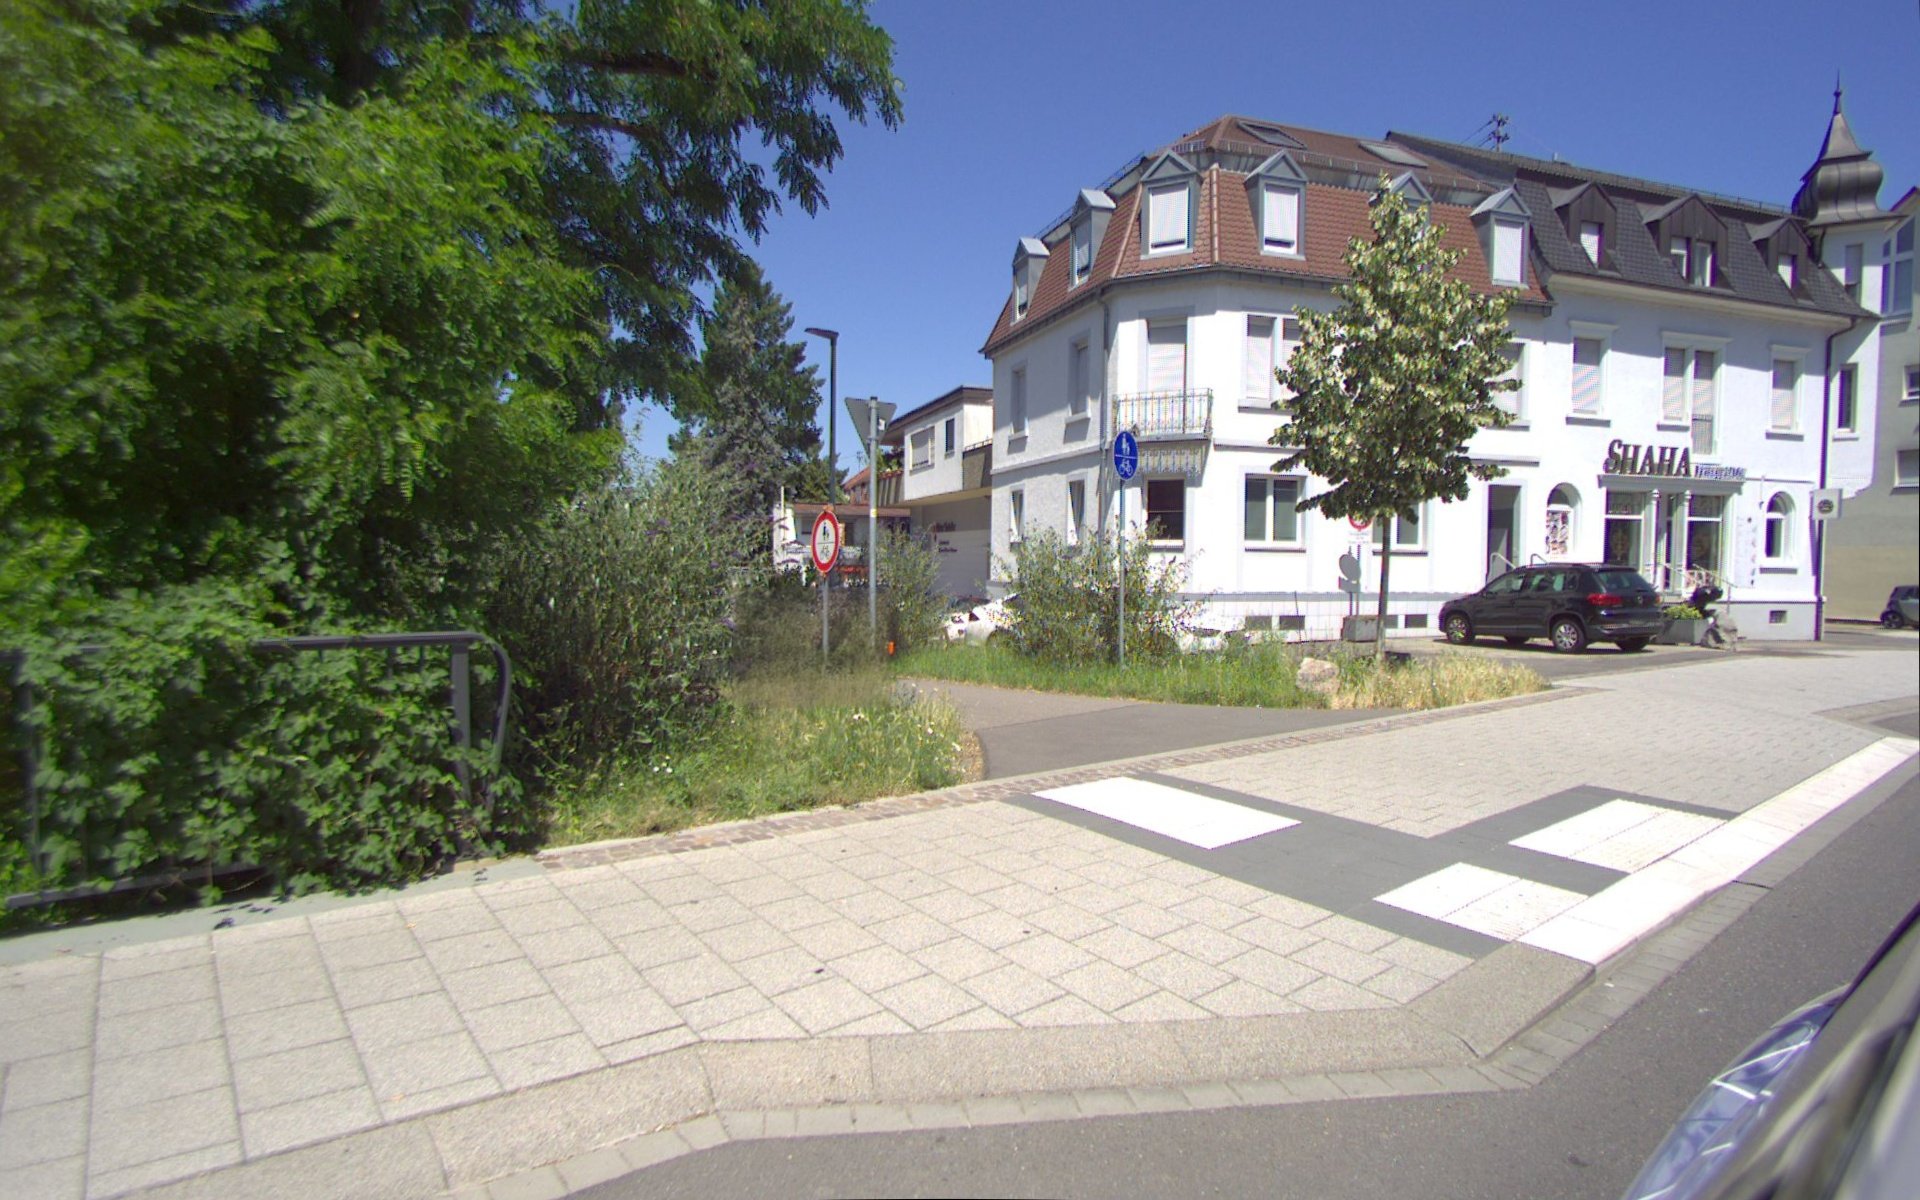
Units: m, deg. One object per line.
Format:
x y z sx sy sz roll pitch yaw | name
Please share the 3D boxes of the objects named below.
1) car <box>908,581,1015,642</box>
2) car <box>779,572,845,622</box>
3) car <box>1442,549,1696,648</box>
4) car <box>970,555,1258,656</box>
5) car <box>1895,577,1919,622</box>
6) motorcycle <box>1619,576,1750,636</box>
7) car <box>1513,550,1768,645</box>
-0.044 0.327 27.918 1.762 1.562 4.037 0 -1 -18 | car
-6.864 -0.208 46.481 1.958 2.156 5.107 0 2 -21 | car
11.814 -0.079 19.979 1.817 1.737 4.098 -1 1 -18 | car
2.408 0.091 16.249 4.178 1.367 1.835 1 -4 37 | car
33.255 0.007 33.687 1.498 1.489 2.743 -1 2 -17 | car
16.502 0.103 23.144 0.838 1.291 2.390 0 2 -17 | motorcycle
13.794 -0.106 20.826 1.817 1.737 4.098 -1 1 -18 | car
